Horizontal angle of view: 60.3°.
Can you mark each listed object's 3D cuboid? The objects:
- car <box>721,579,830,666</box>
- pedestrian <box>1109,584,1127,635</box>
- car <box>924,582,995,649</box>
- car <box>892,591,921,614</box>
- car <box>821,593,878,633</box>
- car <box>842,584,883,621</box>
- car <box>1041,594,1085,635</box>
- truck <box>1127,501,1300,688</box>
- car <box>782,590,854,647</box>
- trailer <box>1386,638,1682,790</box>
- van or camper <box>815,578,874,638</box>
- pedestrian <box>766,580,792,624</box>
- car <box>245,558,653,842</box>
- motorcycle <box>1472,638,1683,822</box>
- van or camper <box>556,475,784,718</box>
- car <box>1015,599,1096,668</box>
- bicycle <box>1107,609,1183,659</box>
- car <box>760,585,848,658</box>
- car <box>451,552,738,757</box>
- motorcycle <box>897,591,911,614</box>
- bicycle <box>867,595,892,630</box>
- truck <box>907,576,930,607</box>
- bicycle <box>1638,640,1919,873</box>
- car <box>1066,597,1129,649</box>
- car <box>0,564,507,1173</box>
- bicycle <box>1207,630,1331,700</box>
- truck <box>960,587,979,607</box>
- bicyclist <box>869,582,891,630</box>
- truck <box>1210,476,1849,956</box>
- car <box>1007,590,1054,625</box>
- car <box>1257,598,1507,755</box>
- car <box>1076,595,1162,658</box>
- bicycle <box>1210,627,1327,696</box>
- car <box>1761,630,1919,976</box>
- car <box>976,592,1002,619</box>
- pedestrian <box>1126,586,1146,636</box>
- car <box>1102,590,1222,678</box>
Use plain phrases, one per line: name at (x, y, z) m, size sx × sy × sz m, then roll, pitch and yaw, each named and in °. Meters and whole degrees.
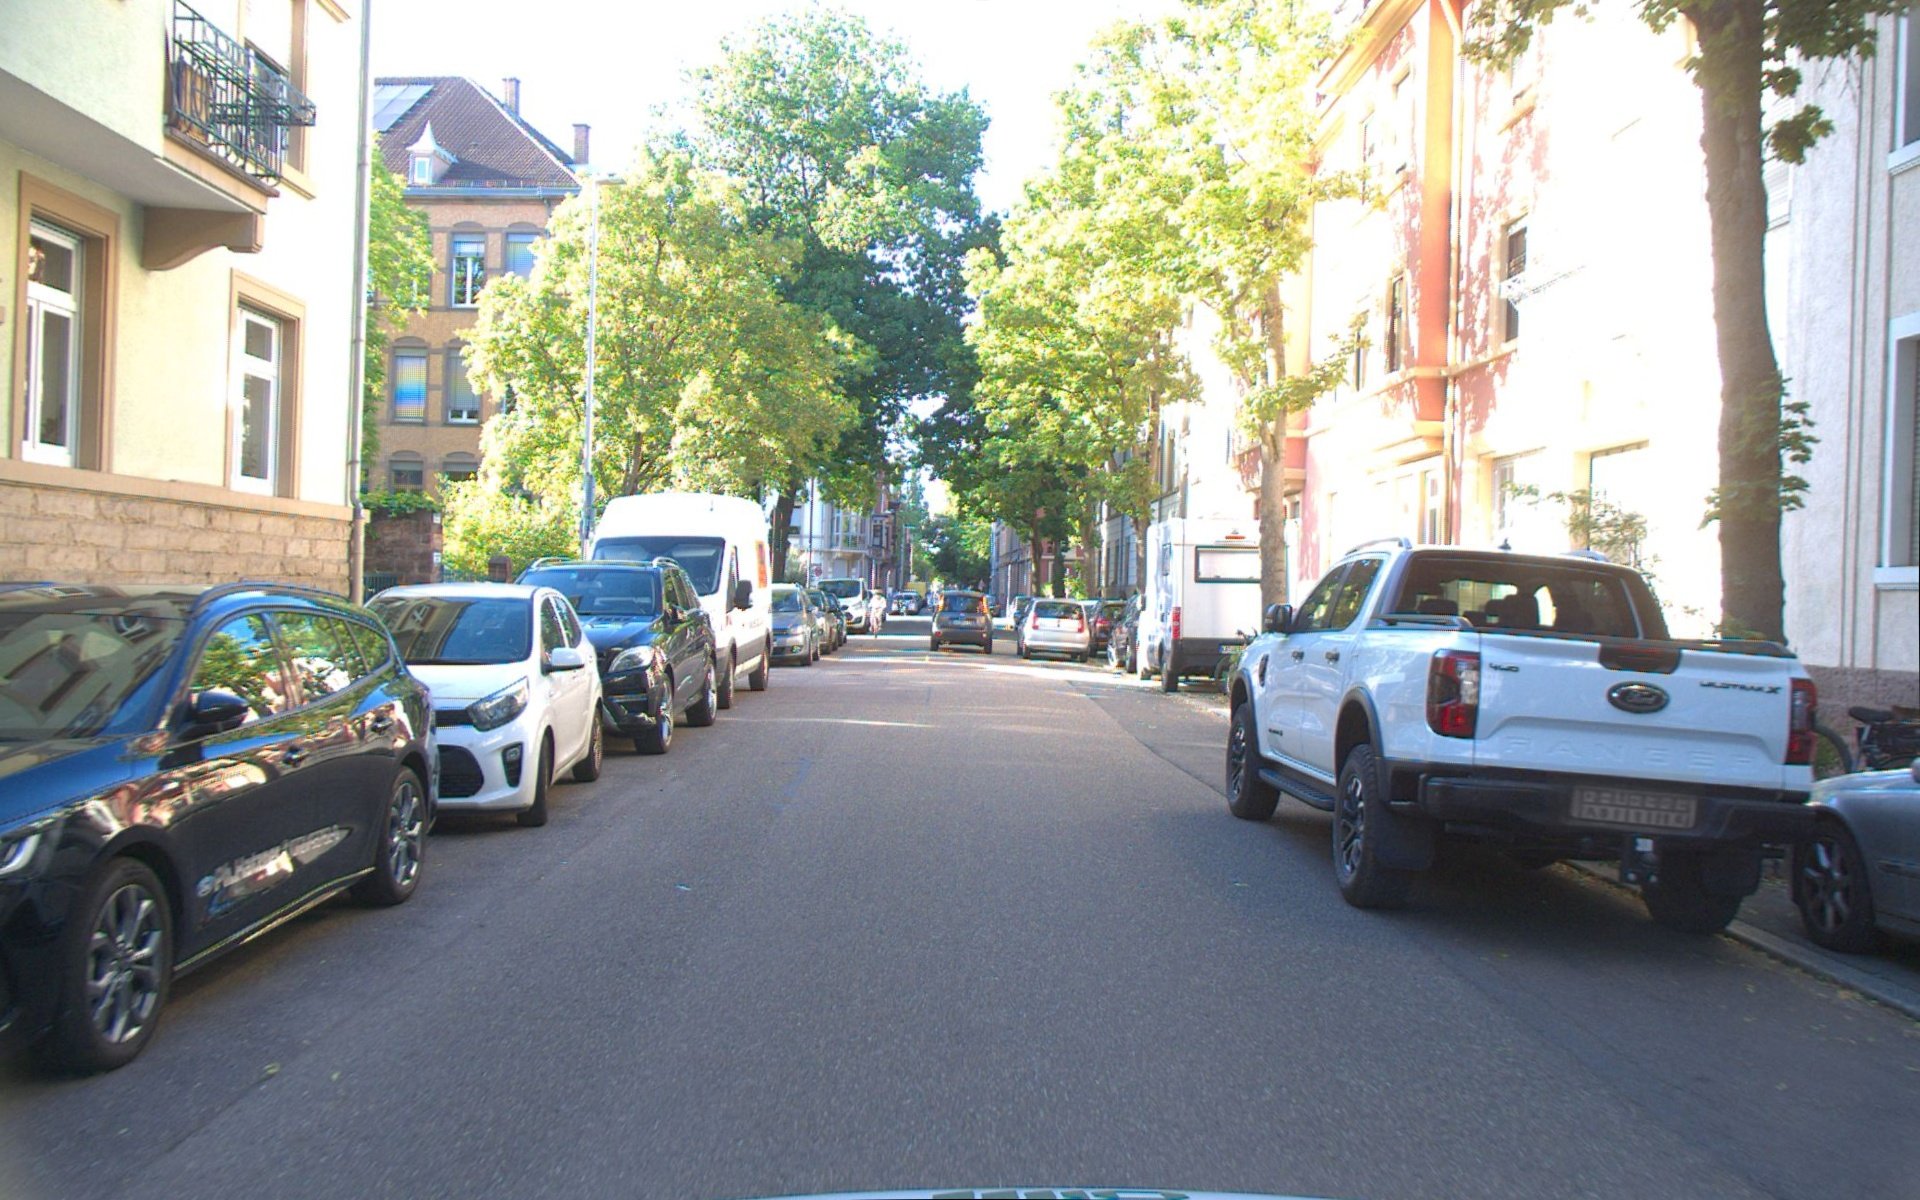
car at (-3.615, 0.406, 33.025) m, size 1.744 × 1.618 × 4.468 m, roll 0°, pitch 0°, yaw -1°
pedestrian at (5.528, 0.336, 58.008) m, size 0.509 × 1.765 × 0.878 m, roll 2°, pitch 0°, yaw 0°
car at (-0.049, 0.377, 42.780) m, size 1.600 × 1.577 × 3.262 m, roll 2°, pitch 1°, yaw -3°
car at (-3.620, 0.168, 112.523) m, size 1.760 × 1.457 × 3.925 m, roll -2°, pitch 0°, yaw 0°
car at (-4.339, 0.493, 65.564) m, size 1.960 × 1.483 × 4.605 m, roll 0°, pitch 0°, yaw -1°
car at (-4.464, 0.093, 75.873) m, size 1.788 × 1.581 × 4.131 m, roll -2°, pitch 0°, yaw -3°
car at (4.095, 0.566, 65.904) m, size 1.489 × 1.537 × 3.543 m, roll 2°, pitch 0°, yaw 0°
truck at (4.443, -0.111, 30.040) m, size 2.032 × 3.020 × 6.107 m, roll -1°, pitch 0°, yaw -2°
car at (-3.851, 0.466, 45.525) m, size 1.679 × 1.419 × 4.778 m, roll -2°, pitch 0°, yaw -2°
trailer at (4.764, 0.938, 13.806) m, size 2.045 × 1.131 × 1.111 m, roll 2°, pitch 0°, yaw -15°
van or camper at (-4.136, 0.267, 60.051) m, size 1.883 × 2.014 × 5.460 m, roll -1°, pitch 0°, yaw -2°
pedestrian at (-6.764, 0.077, 61.820) m, size 0.863 × 1.604 × 0.529 m, roll 2°, pitch 0°, yaw 0°
car at (-3.250, 0.573, 11.345) m, size 1.602 × 1.579 × 4.087 m, roll 1°, pitch 0°, yaw -2°
motorcycle at (4.669, 0.943, 12.453) m, size 1.748 × 1.262 × 0.692 m, roll 2°, pitch 0°, yaw -40°
van or camper at (-3.690, -0.058, 22.176) m, size 2.085 × 2.817 × 5.850 m, roll 0°, pitch 0°, yaw -1°
car at (2.356, 0.800, 41.497) m, size 1.645 × 1.571 × 3.799 m, roll 3°, pitch 0°, yaw -2°
bicycle at (4.511, 0.826, 40.313) m, size 1.774 × 1.187 × 0.569 m, roll 0°, pitch 0°, yaw -2°
car at (-3.648, 0.457, 39.229) m, size 1.642 × 1.600 × 4.151 m, roll -1°, pitch 0°, yaw 0°
car at (-3.408, 0.434, 16.413) m, size 1.837 × 1.715 × 4.968 m, roll 0°, pitch 0°, yaw -1°
motorcycle at (-3.719, 0.158, 109.224) m, size 0.684 × 1.486 × 1.747 m, roll 1°, pitch 0°, yaw -10°
bicycle at (-2.587, 0.402, 53.352) m, size 0.651 × 1.096 × 1.685 m, roll 2°, pitch 0°, yaw 1°
truck at (-4.153, -0.858, 165.131) m, size 2.028 × 2.977 × 5.068 m, roll -2°, pitch 0°, yaw 0°
bicycle at (5.155, 0.946, 10.149) m, size 1.723 × 1.328 × 0.586 m, roll 2°, pitch 0°, yaw -3°
car at (4.211, 0.670, 51.072) m, size 1.564 × 1.514 × 3.748 m, roll 1°, pitch 0°, yaw -1°
car at (-3.319, 0.653, 6.587) m, size 1.730 × 1.548 × 4.824 m, roll 1°, pitch 0°, yaw -1°
bicycle at (4.652, 0.974, 24.981) m, size 1.748 × 0.965 × 0.579 m, roll 2°, pitch 0°, yaw 1°
truck at (1.001, -0.317, 178.910) m, size 1.953 × 2.026 × 3.999 m, roll 2°, pitch 0°, yaw -1°
bicyclist at (-2.575, 0.195, 53.376) m, size 0.638 × 1.535 × 0.625 m, roll 2°, pitch 0°, yaw 1°
truck at (2.858, 0.478, 9.846) m, size 1.791 × 1.983 × 5.540 m, roll 2°, pitch 0°, yaw -1°
car at (3.357, 0.339, 79.546) m, size 1.753 × 1.578 × 4.407 m, roll 2°, pitch 0°, yaw -3°
car at (4.742, 0.778, 19.299) m, size 1.715 × 1.556 × 4.781 m, roll 1°, pitch 0°, yaw 0°
car at (4.250, 0.674, 44.851) m, size 1.750 × 1.540 × 4.458 m, roll 3°, pitch 0°, yaw -2°
bicycle at (4.889, 0.965, 26.231) m, size 1.670 × 1.017 × 0.705 m, roll 2°, pitch 0°, yaw -7°
car at (4.942, 0.895, 6.215) m, size 1.646 × 1.447 × 4.429 m, roll 0°, pitch 0°, yaw -1°
car at (1.935, 0.347, 110.145) m, size 1.629 × 1.698 × 3.757 m, roll 3°, pitch 0°, yaw 0°
pedestrian at (6.136, 0.375, 57.822) m, size 0.583 × 1.731 × 0.689 m, roll 2°, pitch 0°, yaw 1°
car at (4.362, 0.681, 36.450) m, size 1.847 × 1.746 × 4.942 m, roll 1°, pitch 0°, yaw -2°
